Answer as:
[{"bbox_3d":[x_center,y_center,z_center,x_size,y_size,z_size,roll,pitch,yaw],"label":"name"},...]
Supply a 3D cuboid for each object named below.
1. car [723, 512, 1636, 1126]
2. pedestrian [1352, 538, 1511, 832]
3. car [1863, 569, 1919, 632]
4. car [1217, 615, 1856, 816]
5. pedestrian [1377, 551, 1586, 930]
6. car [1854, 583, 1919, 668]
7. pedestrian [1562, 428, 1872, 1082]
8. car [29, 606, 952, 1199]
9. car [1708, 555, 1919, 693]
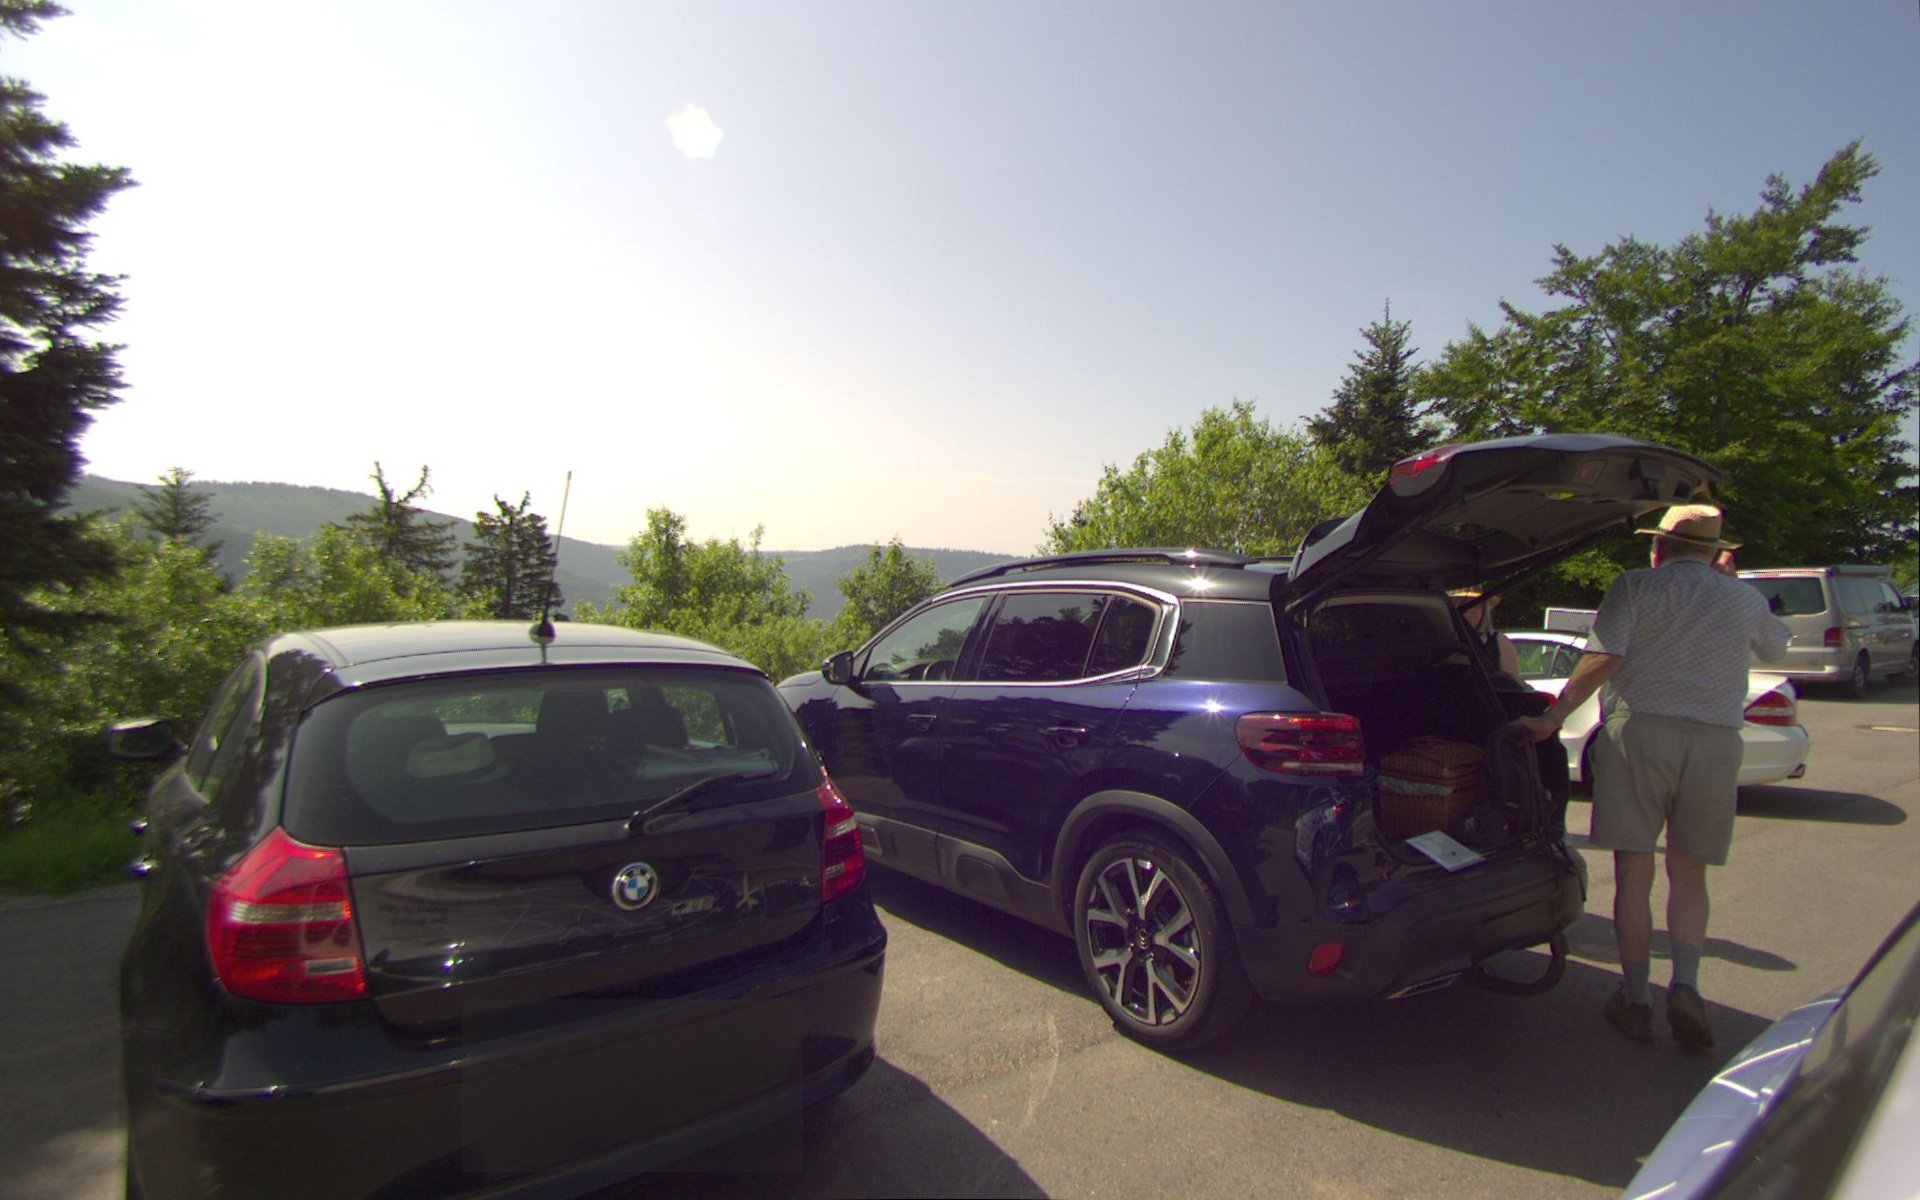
[{"bbox_3d":[0.515,0.619,5.052,1.834,1.647,4.357,-1,-1,-34],"label":"car"},{"bbox_3d":[3.175,0.521,6.811,0.736,1.822,0.734,-1,0,-43],"label":"pedestrian"},{"bbox_3d":[30.914,0.003,31.129,4.430,1.950,1.853,-1,0,35],"label":"car"},{"bbox_3d":[4.619,0.798,8.667,4.386,1.312,1.732,-1,-1,37],"label":"car"},{"bbox_3d":[2.462,0.599,4.802,0.527,1.633,0.716,-1,0,-38],"label":"pedestrian"},{"bbox_3d":[19.303,0.451,19.878,3.926,1.567,1.875,-1,0,-38],"label":"car"},{"bbox_3d":[2.534,0.448,3.460,0.753,1.895,0.728,1,-2,34],"label":"pedestrian"},{"bbox_3d":[-1.936,0.729,3.576,1.671,1.394,4.091,0,0,-38],"label":"car"},{"bbox_3d":[14.229,0.343,16.464,4.520,1.960,1.863,0,-1,-34],"label":"car"}]
